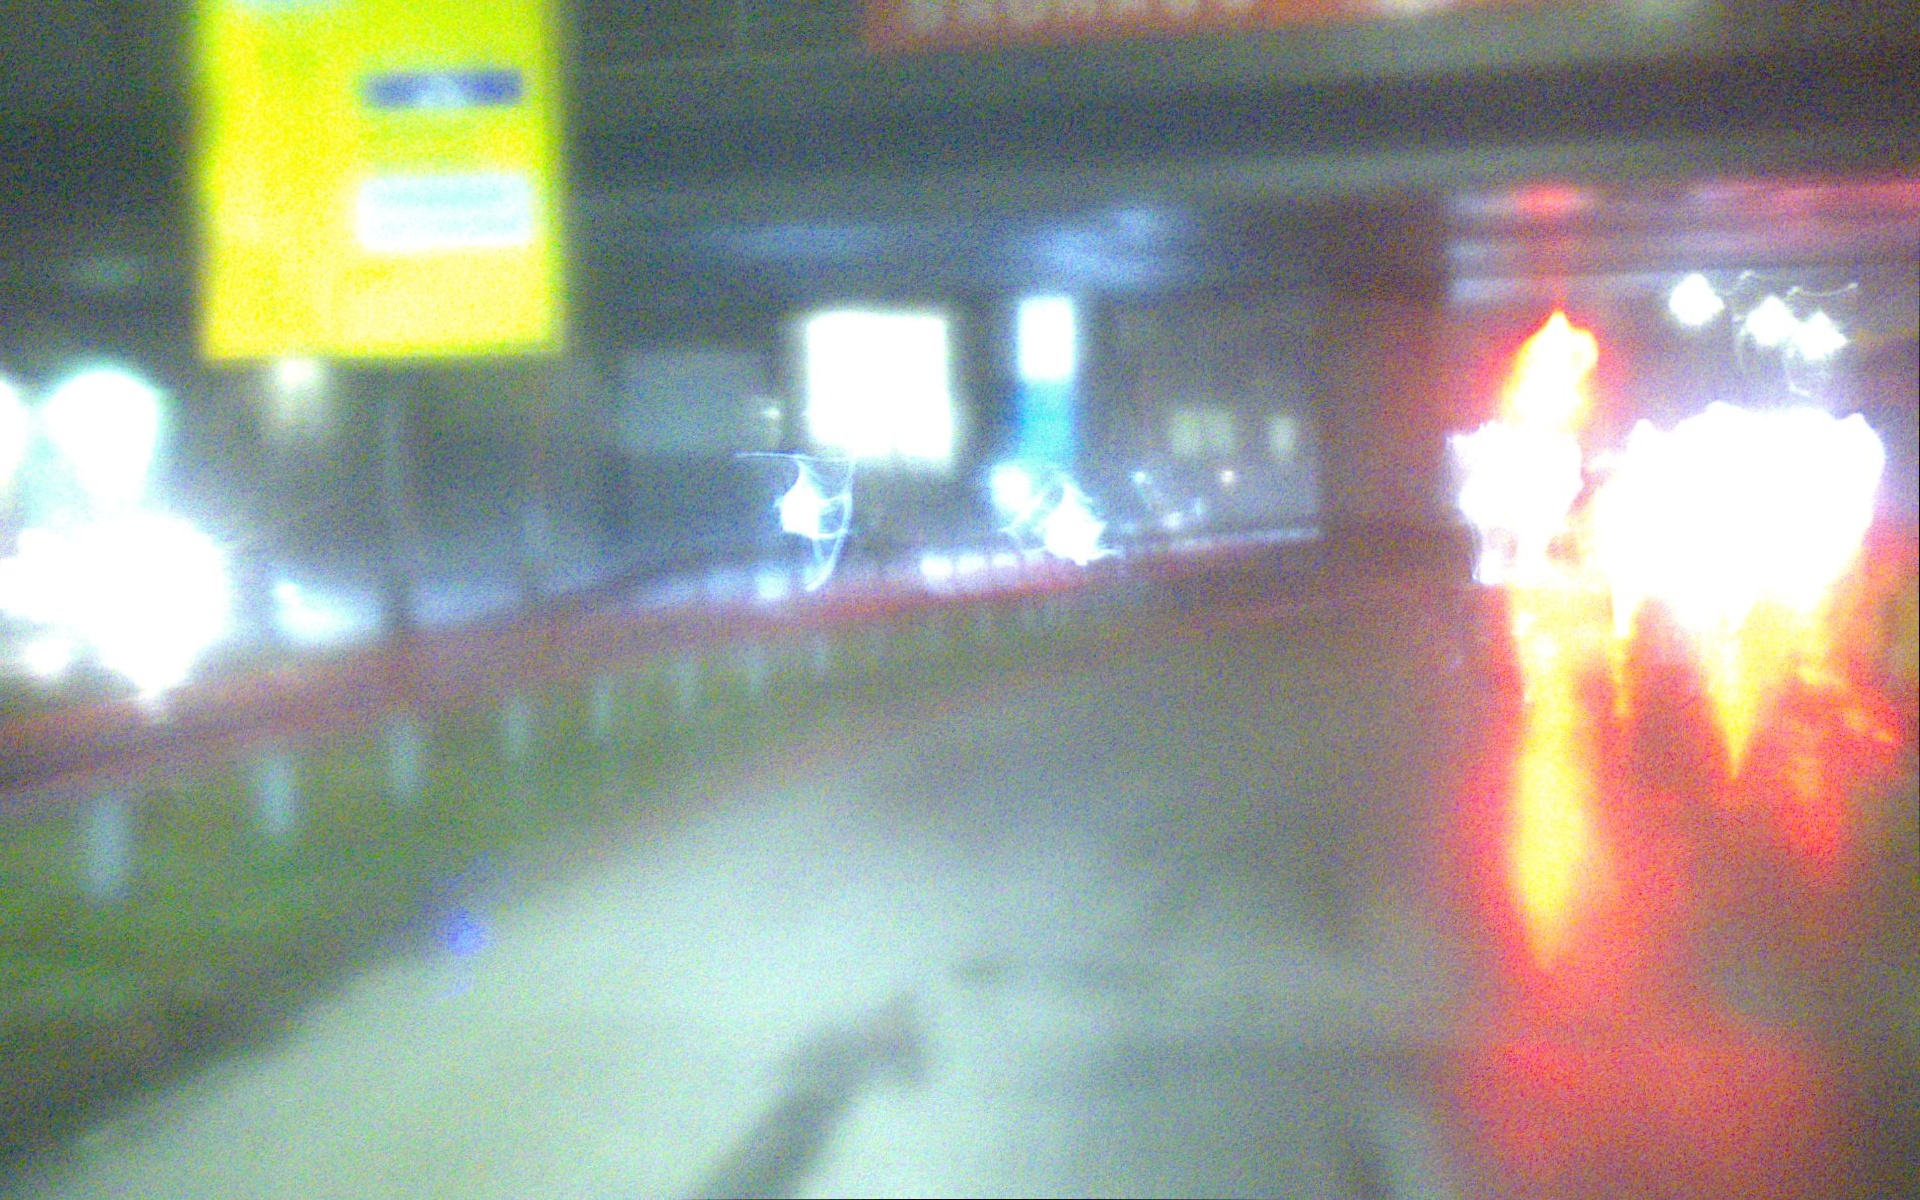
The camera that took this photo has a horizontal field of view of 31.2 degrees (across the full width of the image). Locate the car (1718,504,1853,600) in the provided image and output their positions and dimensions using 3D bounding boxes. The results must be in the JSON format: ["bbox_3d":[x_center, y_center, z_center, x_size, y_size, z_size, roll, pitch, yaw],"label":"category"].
[{"bbox_3d":[15.004,-0.880,62.376,1.790,1.678,3.995,0,1,22],"label":"car"}]

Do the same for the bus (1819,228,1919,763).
[{"bbox_3d":[7.389,-0.654,21.346,3.044,3.201,9.048,0,1,8],"label":"bus"}]

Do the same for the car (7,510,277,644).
[{"bbox_3d":[-9.219,-0.285,39.052,1.567,1.422,3.951,1,1,9],"label":"car"}]

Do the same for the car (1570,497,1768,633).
[{"bbox_3d":[9.305,-0.490,44.918,1.790,1.678,3.996,1,2,22],"label":"car"}]

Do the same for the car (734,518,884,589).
[{"bbox_3d":[-2.832,-0.913,65.365,1.856,1.284,4.129,1,2,12],"label":"car"}]
